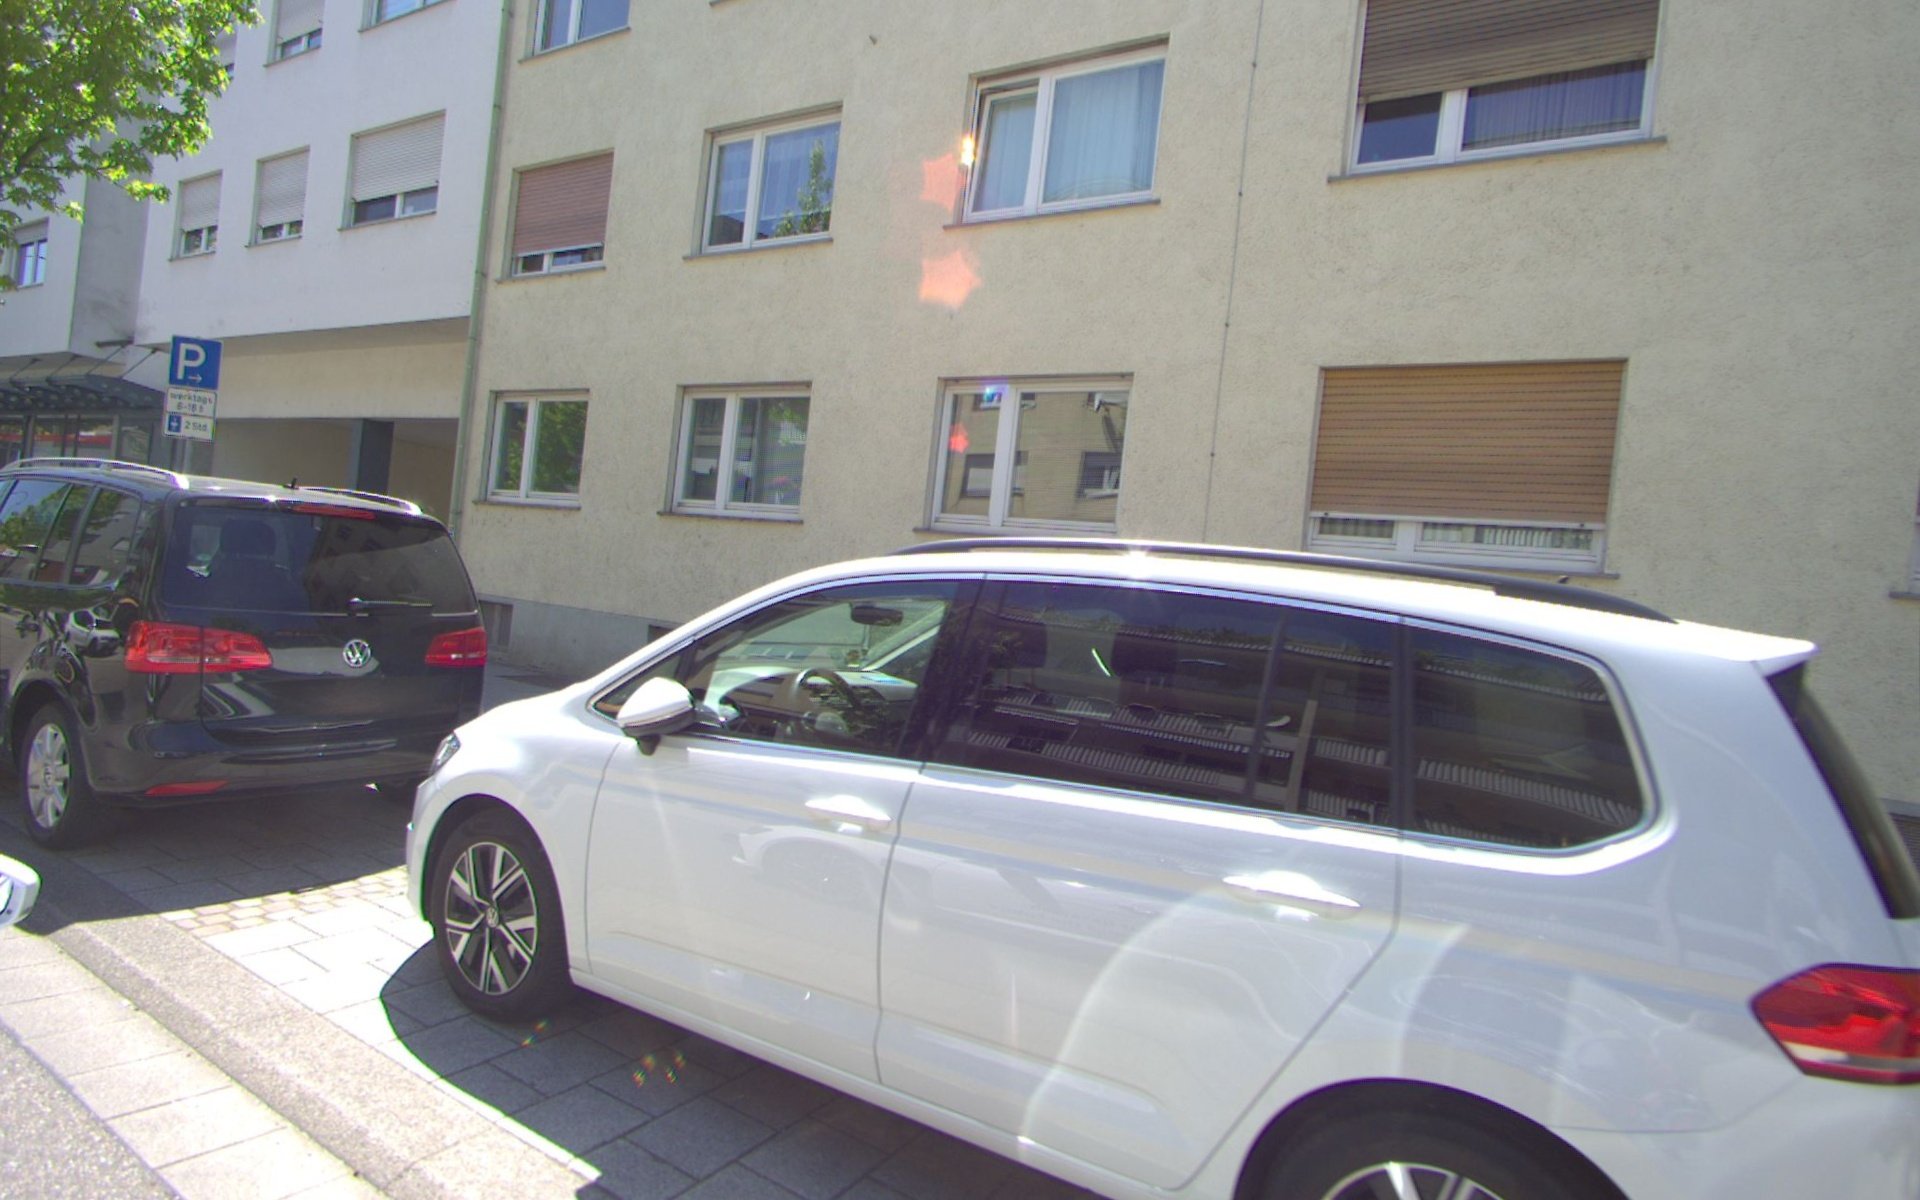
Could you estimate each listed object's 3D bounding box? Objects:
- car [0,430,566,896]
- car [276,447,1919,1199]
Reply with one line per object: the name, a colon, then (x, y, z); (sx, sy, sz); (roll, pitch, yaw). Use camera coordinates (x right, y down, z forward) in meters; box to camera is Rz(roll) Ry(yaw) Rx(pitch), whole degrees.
car: (-4.533, 0.059, 5.587); (4.459, 1.696, 1.858); (7, 2, 29)
car: (0.138, 0.593, 3.205); (4.610, 1.696, 1.898); (7, 2, 29)
